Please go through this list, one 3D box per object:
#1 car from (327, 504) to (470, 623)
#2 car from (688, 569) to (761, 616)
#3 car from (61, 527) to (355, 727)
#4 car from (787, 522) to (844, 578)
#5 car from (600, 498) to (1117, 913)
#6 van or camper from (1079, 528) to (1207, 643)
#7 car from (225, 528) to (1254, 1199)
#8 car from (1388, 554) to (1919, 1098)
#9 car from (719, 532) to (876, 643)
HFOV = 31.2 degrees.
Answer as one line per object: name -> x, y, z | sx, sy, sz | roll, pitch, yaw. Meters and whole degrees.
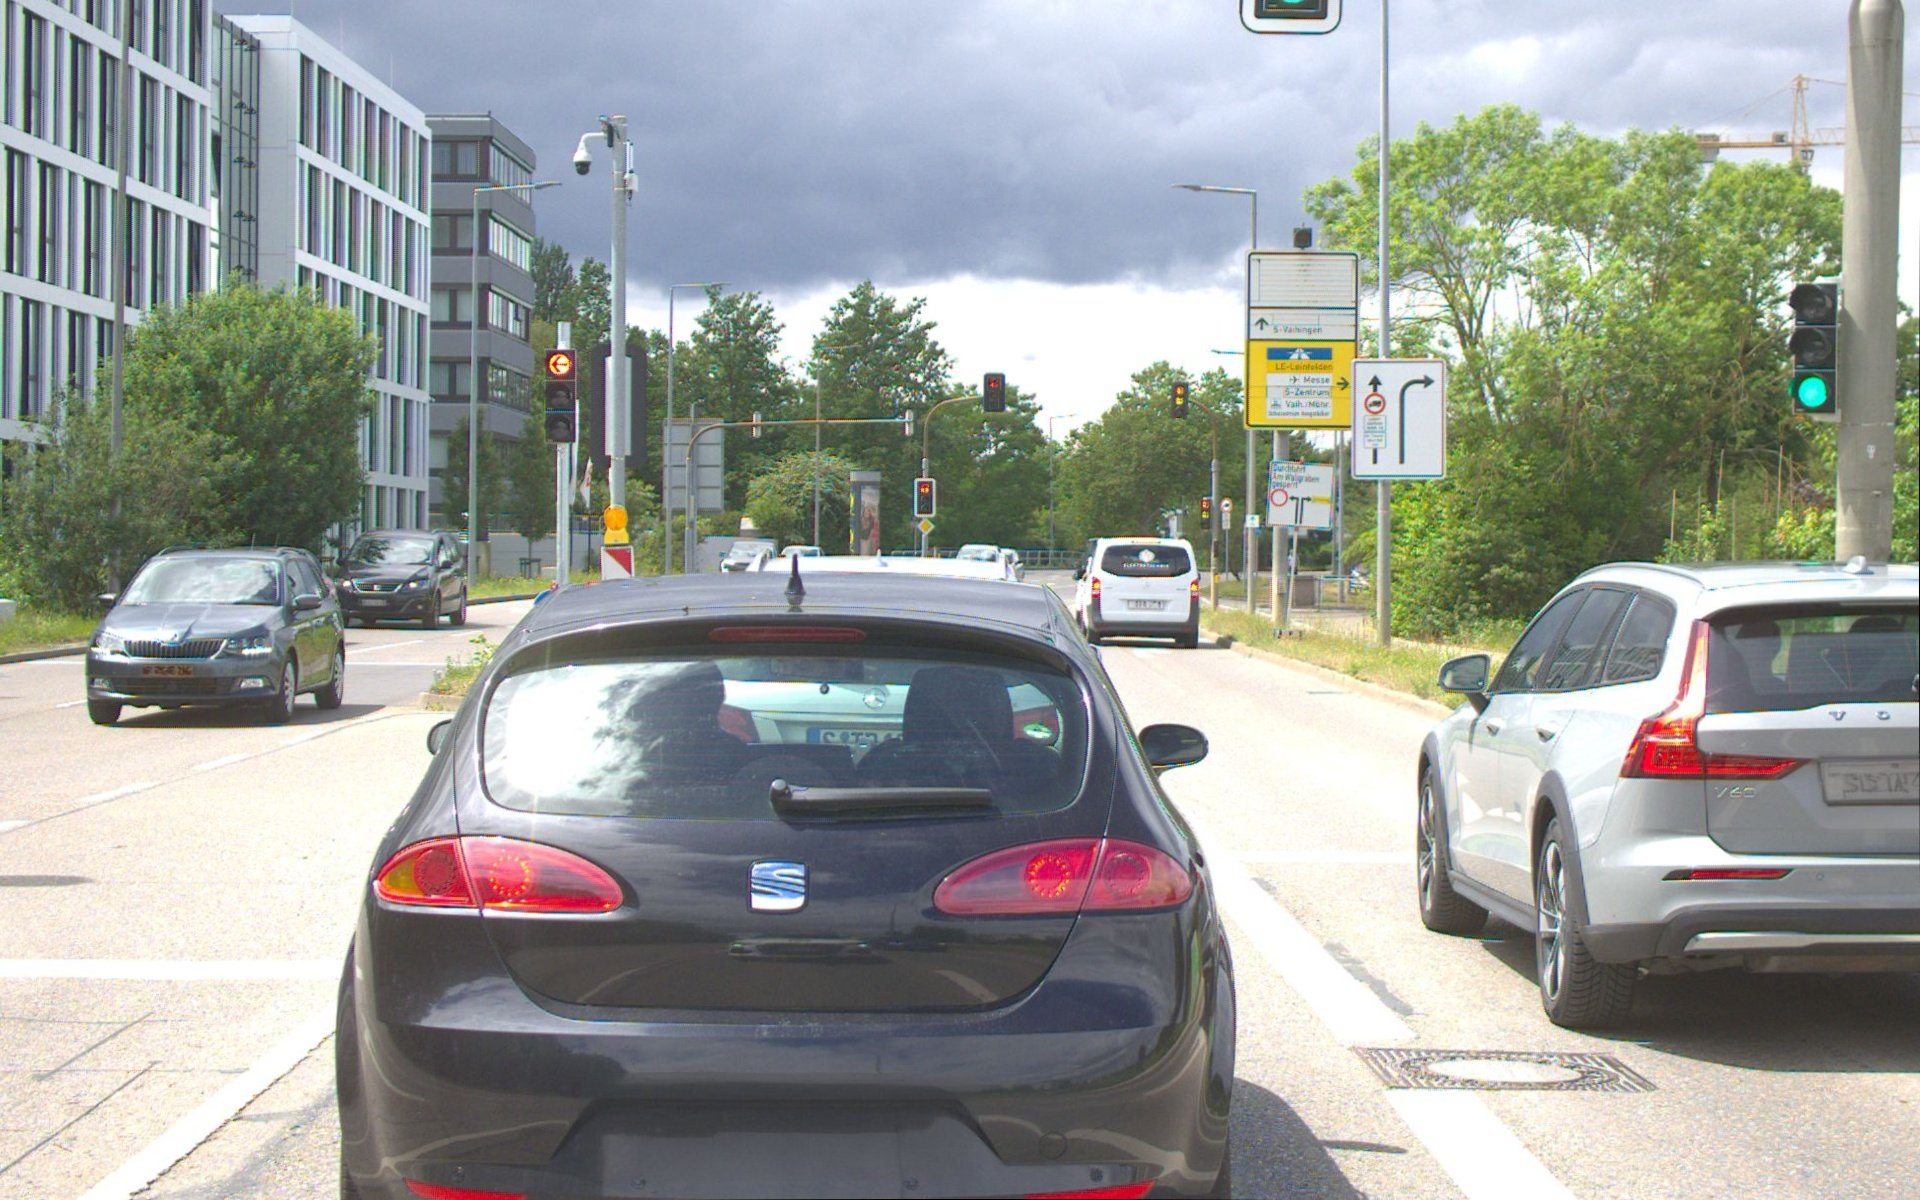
car -> -9.802, -0.634, 60.337 | 1.993, 2.007, 4.482 | 0, 0, -3
car -> -7.118, -0.244, 104.323 | 1.993, 1.404, 4.000 | 0, 0, -1
car -> -6.471, 0.175, 29.976 | 1.668, 1.519, 4.008 | -2, 2, -1
car -> -5.271, -1.829, 125.974 | 1.993, 2.007, 4.000 | 0, 0, -1
car -> -0.440, 0.399, 15.433 | 1.983, 1.585, 4.226 | 1, 0, -1
van or camper -> 3.112, -0.251, 59.037 | 1.899, 1.919, 4.000 | 0, 0, -1
car -> -0.292, 0.627, 7.912 | 1.748, 1.479, 4.000 | 2, 0, 3
car -> 2.774, 0.619, 11.898 | 1.958, 1.520, 4.340 | -1, 0, -1
car -> -2.181, -0.174, 47.130 | 1.845, 1.456, 4.055 | 0, 0, 2
